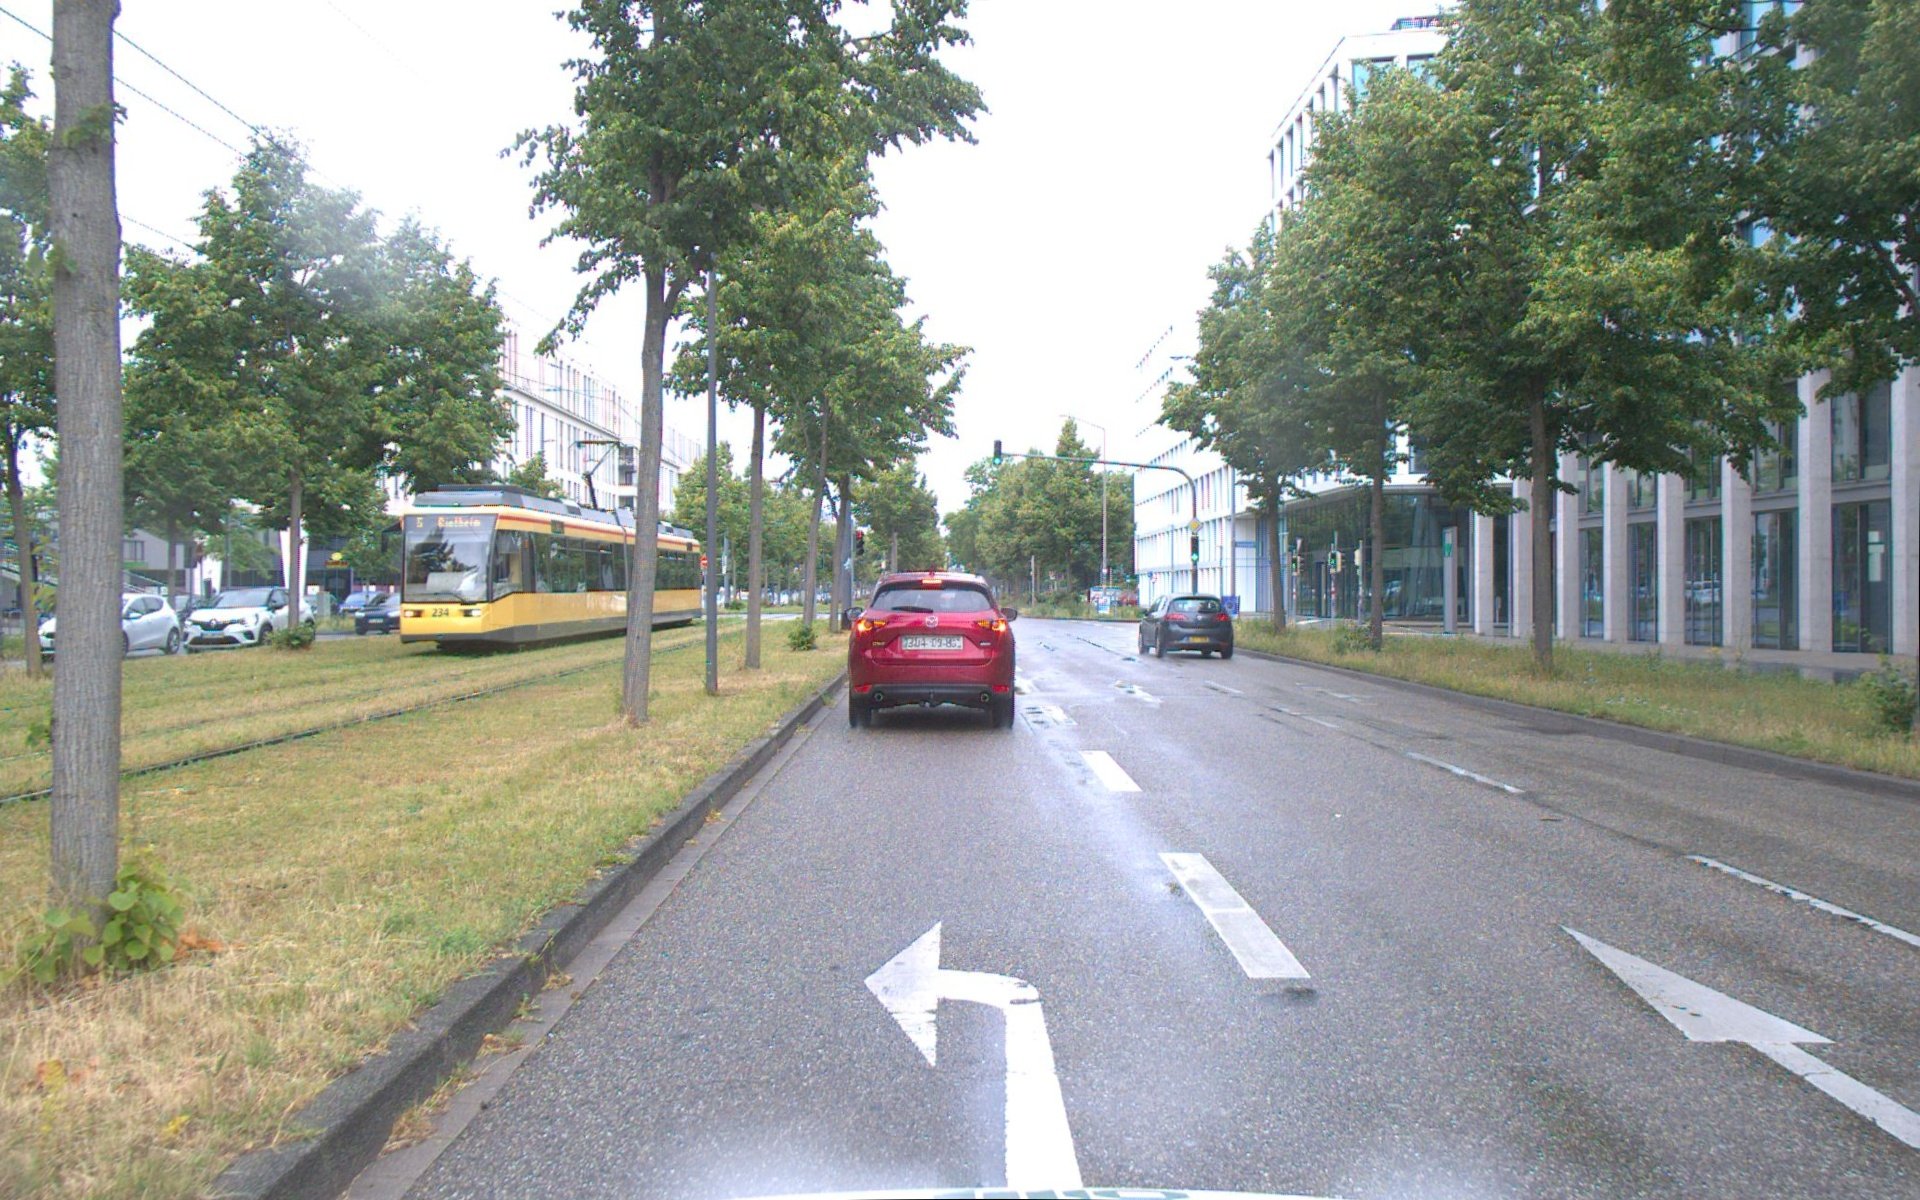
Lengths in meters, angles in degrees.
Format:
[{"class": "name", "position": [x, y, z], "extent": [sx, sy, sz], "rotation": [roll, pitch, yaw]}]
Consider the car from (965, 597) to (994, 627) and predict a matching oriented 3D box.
[{"class": "car", "position": [1.345, 0.833, 117.648], "extent": [1.953, 2.049, 3.999], "rotation": [0, 1, -1]}]

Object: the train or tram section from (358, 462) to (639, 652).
[{"class": "train or tram section", "position": [-10.365, -0.914, 39.164], "extent": [3.065, 3.723, 13.404], "rotation": [0, 1, -1]}]

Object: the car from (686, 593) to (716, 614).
[{"class": "car", "position": [-21.330, 0.257, 136.421], "extent": [1.953, 1.646, 3.998], "rotation": [0, 1, -2]}]

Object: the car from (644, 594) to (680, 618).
[{"class": "car", "position": [-20.973, 0.410, 116.576], "extent": [1.953, 1.646, 3.998], "rotation": [0, 1, -2]}]

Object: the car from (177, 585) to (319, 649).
[{"class": "car", "position": [-16.749, 0.367, 39.126], "extent": [1.675, 1.429, 3.999], "rotation": [0, 1, -1]}]

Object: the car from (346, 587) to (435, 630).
[{"class": "car", "position": [-20.404, 0.290, 59.435], "extent": [1.846, 1.485, 3.999], "rotation": [0, 1, -1]}]

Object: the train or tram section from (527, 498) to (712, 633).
[{"class": "train or tram section", "position": [-10.576, -1.026, 53.438], "extent": [3.065, 3.723, 15.062], "rotation": [0, 1, -1]}]

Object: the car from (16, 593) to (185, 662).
[{"class": "car", "position": [-19.796, 0.589, 38.298], "extent": [1.846, 1.485, 3.999], "rotation": [0, 1, -1]}]

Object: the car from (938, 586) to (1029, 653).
[{"class": "car", "position": [0.602, 0.411, 38.754], "extent": [1.918, 1.490, 3.783], "rotation": [0, 0, 4]}]

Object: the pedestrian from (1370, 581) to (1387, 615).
[{"class": "pedestrian", "position": [21.573, -0.124, 85.242], "extent": [0.766, 1.737, 0.679], "rotation": [0, 0, 25]}]

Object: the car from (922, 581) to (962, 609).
[{"class": "car", "position": [-1.028, -0.297, 93.011], "extent": [1.929, 1.462, 4.548], "rotation": [1, 1, -5]}]

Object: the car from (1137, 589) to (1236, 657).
[{"class": "car", "position": [5.182, 0.498, 38.258], "extent": [1.708, 1.490, 3.781], "rotation": [0, 0, -1]}]

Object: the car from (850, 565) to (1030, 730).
[{"class": "car", "position": [-0.251, 0.475, 19.083], "extent": [1.860, 1.706, 3.999], "rotation": [0, 0, -1]}]
